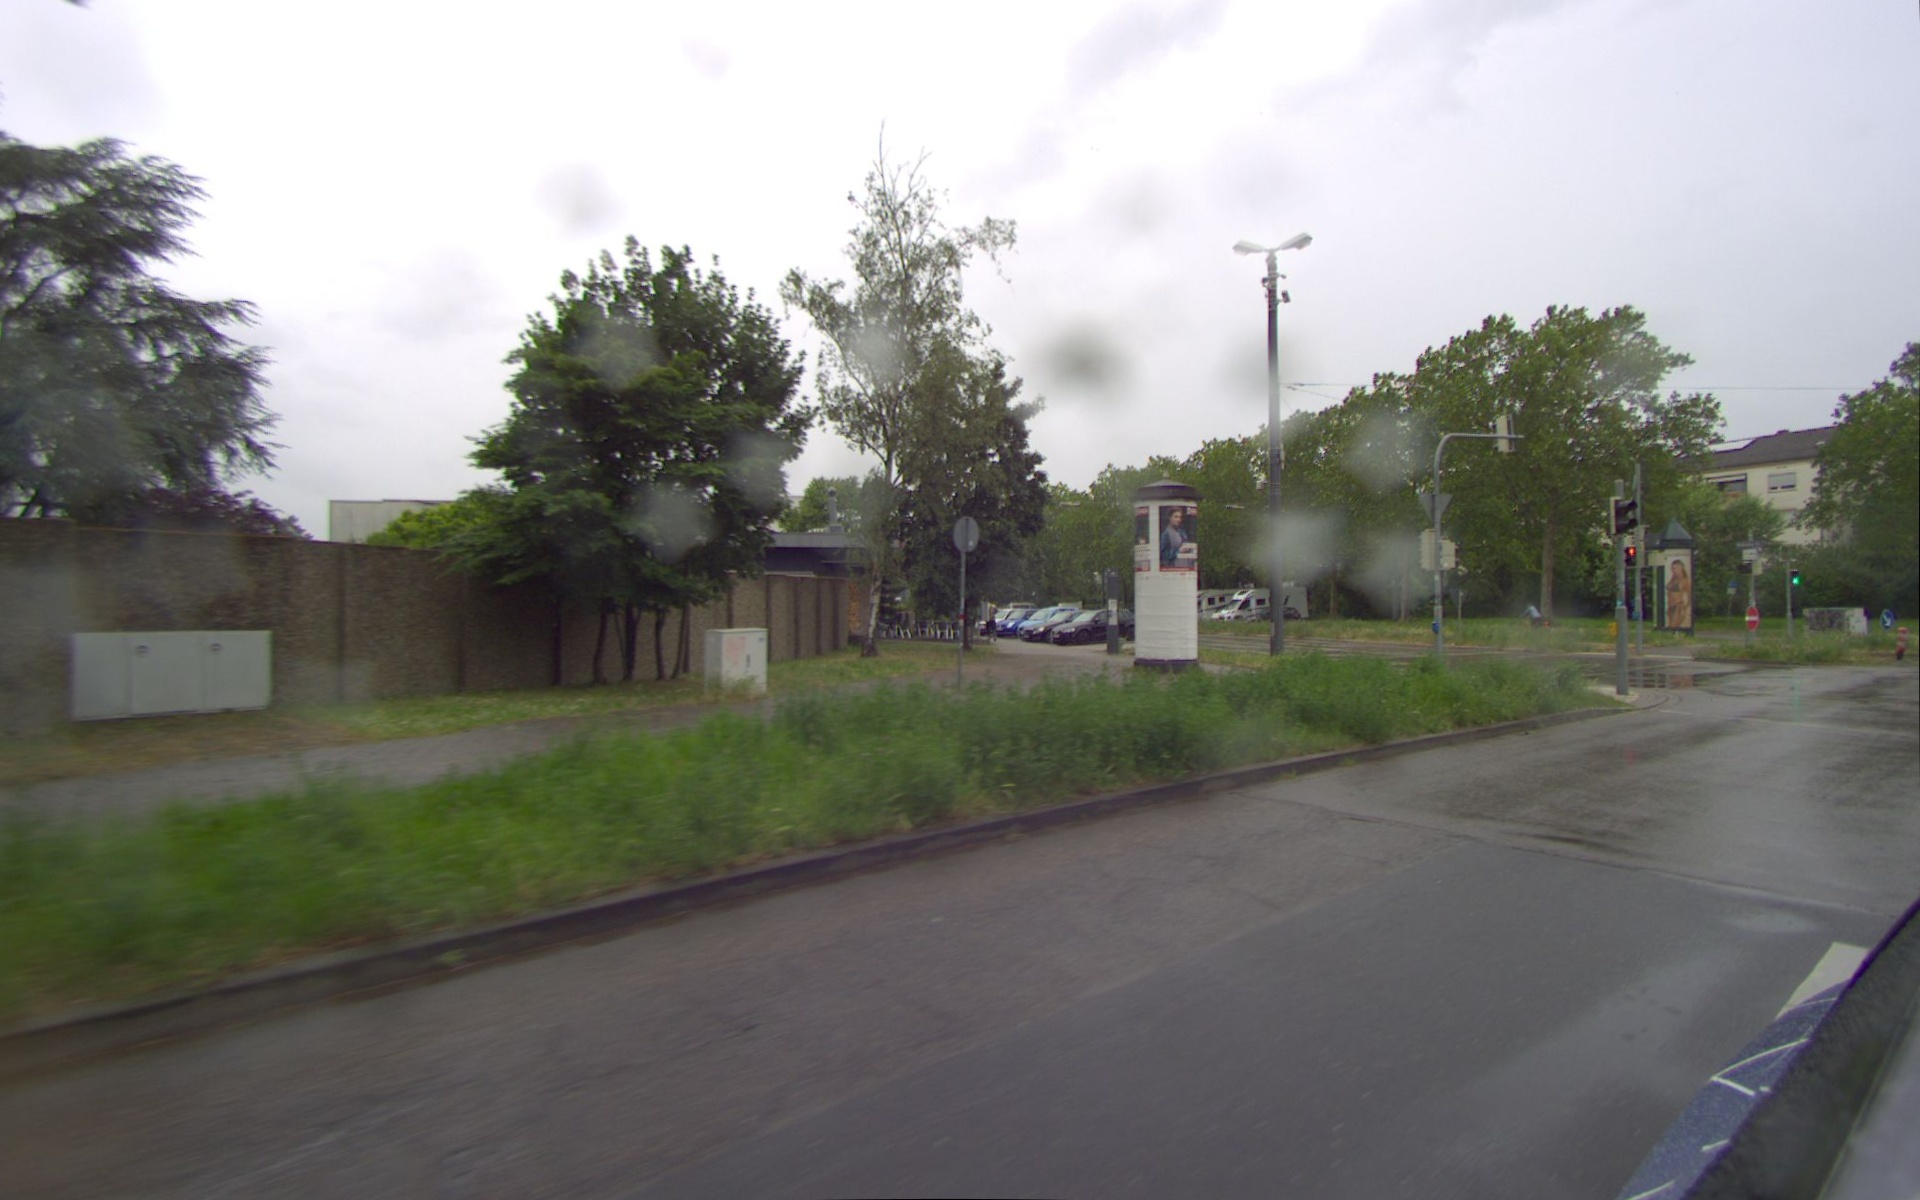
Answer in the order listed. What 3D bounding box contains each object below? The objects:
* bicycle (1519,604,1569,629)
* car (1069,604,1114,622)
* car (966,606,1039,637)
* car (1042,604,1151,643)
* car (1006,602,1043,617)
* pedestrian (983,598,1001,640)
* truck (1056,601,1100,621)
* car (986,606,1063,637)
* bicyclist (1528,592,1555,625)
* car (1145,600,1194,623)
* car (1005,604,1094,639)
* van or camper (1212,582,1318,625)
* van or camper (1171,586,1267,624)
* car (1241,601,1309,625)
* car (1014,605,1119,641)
[{"bbox_3d":[26.980,0.793,46.807,0.679,1.131,1.886,1,-2,-32],"label":"bicycle"},{"bbox_3d":[15.140,1.473,116.739,4.643,2.040,2.432,1,-1,-6],"label":"car"},{"bbox_3d":[2.439,1.188,57.816,4.053,1.662,1.925,0,-1,-44],"label":"car"},{"bbox_3d":[5.901,1.002,43.756,4.402,1.436,1.860,-2,0,-28],"label":"car"},{"bbox_3d":[8.692,1.289,137.201,4.552,2.040,2.047,1,-1,-14],"label":"car"},{"bbox_3d":[1.415,0.849,45.000,0.713,1.820,0.887,1,-1,-3],"label":"pedestrian"},{"bbox_3d":[13.968,1.292,119.889,4.640,2.368,2.433,1,-1,-9],"label":"truck"},{"bbox_3d":[3.515,1.159,54.869,3.930,1.602,1.927,0,-1,-41],"label":"car"},{"bbox_3d":[26.936,0.399,46.884,0.679,1.525,0.844,1,-2,-32],"label":"bicyclist"},{"bbox_3d":[19.642,1.088,94.928,4.104,2.040,2.187,0,-1,-4],"label":"car"},{"bbox_3d":[4.350,1.009,49.307,3.917,1.602,1.861,0,-1,-25],"label":"car"},{"bbox_3d":[23.742,0.291,78.838,7.193,3.219,3.267,1,-1,-11],"label":"van or camper"},{"bbox_3d":[22.400,0.452,87.750,7.298,3.219,3.266,1,-1,-7],"label":"van or camper"},{"bbox_3d":[23.295,0.966,75.011,4.367,1.739,2.002,1,-1,-8],"label":"car"},{"bbox_3d":[4.837,1.029,45.932,4.421,1.436,1.860,-2,0,-28],"label":"car"}]
